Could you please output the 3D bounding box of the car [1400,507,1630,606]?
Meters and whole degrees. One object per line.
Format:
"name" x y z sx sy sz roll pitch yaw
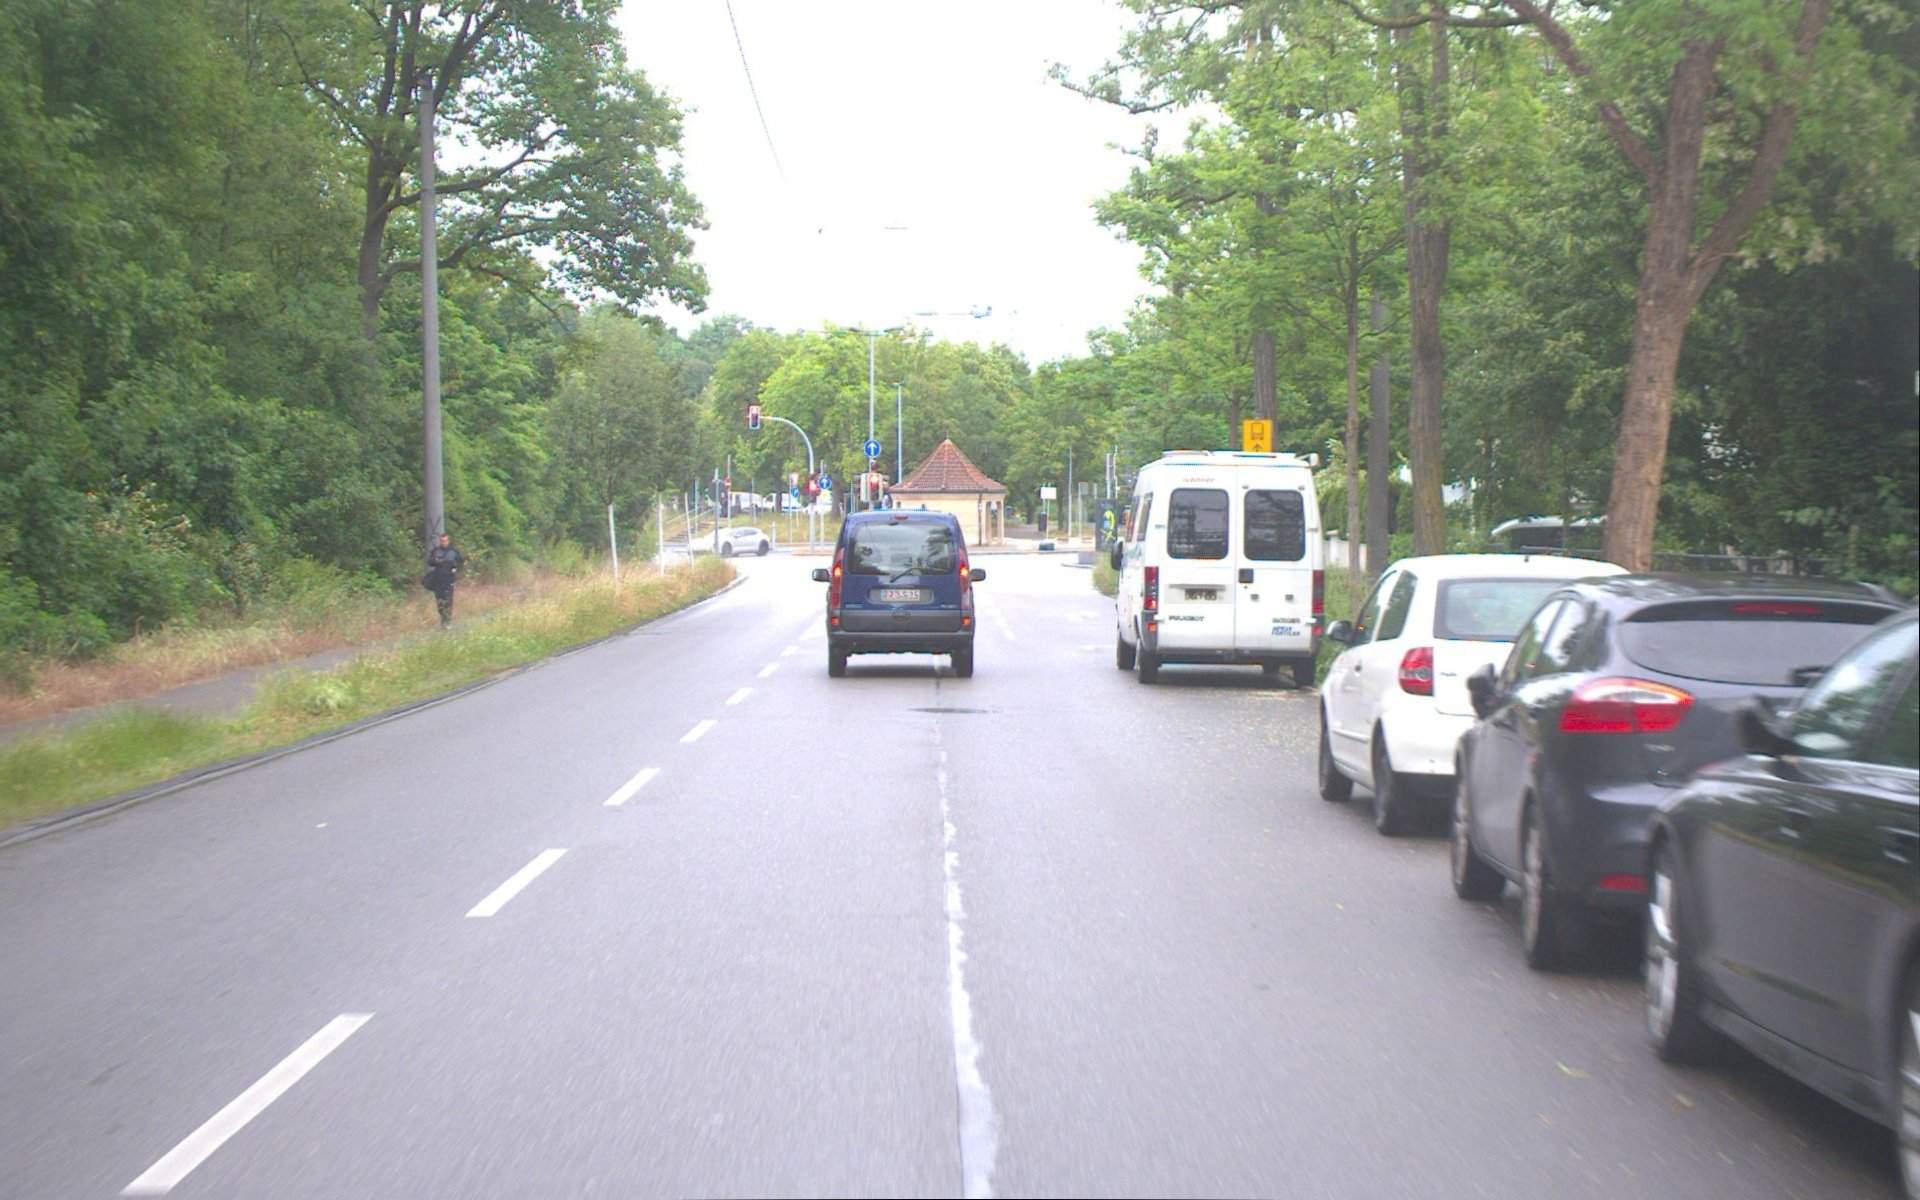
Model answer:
"car" 10.769 -0.862 66.664 4.306 1.811 1.873 1 1 11

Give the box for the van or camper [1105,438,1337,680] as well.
"van or camper" 2.875 -0.496 39.082 2.037 2.471 5.639 2 1 -1

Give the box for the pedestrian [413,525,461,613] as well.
"pedestrian" -9.597 -0.569 63.114 0.781 1.602 0.732 0 1 -1

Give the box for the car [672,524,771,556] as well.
"car" -11.267 -2.830 162.641 4.348 1.307 1.999 -4 2 -42

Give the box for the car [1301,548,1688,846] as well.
"car" 2.934 0.471 19.559 1.571 1.467 3.765 2 1 0

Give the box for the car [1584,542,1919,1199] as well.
"car" 2.907 0.648 8.622 1.753 1.521 4.823 2 1 0

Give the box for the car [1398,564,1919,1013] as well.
"car" 2.838 0.630 13.763 1.617 1.465 3.944 2 1 0

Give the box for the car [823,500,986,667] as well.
"car" -0.626 -0.228 39.154 1.731 1.780 4.000 1 1 -1
